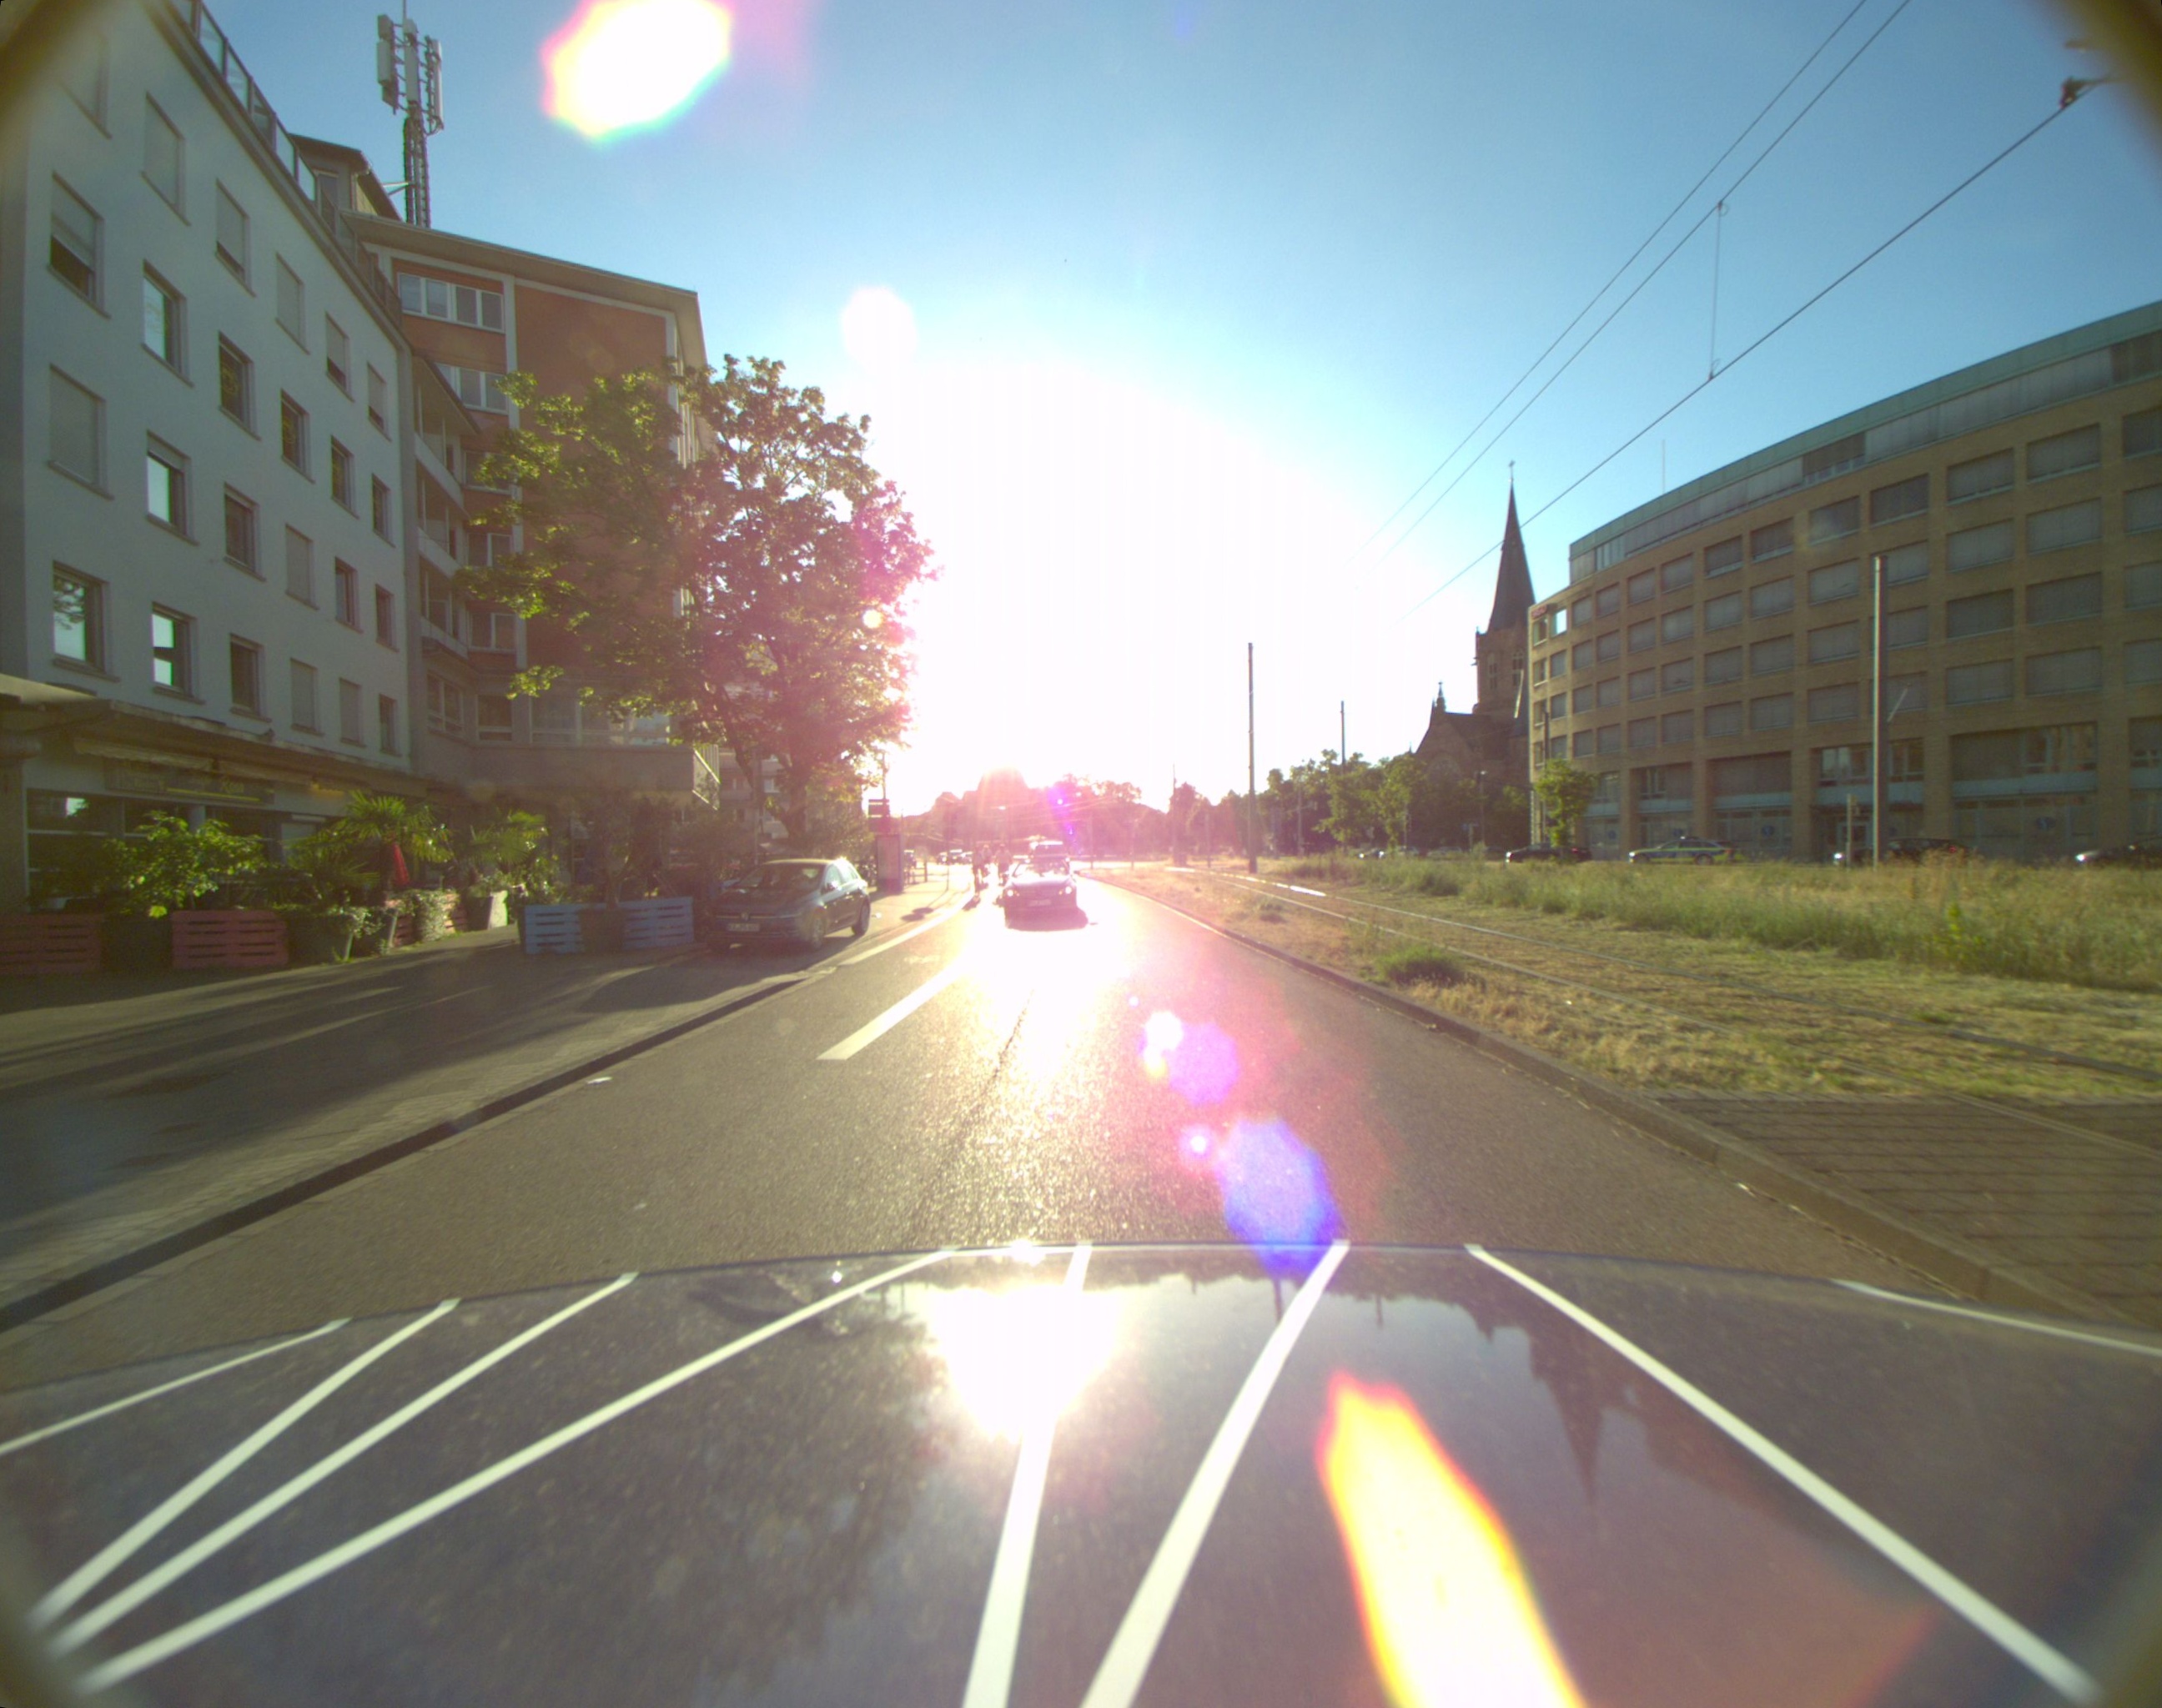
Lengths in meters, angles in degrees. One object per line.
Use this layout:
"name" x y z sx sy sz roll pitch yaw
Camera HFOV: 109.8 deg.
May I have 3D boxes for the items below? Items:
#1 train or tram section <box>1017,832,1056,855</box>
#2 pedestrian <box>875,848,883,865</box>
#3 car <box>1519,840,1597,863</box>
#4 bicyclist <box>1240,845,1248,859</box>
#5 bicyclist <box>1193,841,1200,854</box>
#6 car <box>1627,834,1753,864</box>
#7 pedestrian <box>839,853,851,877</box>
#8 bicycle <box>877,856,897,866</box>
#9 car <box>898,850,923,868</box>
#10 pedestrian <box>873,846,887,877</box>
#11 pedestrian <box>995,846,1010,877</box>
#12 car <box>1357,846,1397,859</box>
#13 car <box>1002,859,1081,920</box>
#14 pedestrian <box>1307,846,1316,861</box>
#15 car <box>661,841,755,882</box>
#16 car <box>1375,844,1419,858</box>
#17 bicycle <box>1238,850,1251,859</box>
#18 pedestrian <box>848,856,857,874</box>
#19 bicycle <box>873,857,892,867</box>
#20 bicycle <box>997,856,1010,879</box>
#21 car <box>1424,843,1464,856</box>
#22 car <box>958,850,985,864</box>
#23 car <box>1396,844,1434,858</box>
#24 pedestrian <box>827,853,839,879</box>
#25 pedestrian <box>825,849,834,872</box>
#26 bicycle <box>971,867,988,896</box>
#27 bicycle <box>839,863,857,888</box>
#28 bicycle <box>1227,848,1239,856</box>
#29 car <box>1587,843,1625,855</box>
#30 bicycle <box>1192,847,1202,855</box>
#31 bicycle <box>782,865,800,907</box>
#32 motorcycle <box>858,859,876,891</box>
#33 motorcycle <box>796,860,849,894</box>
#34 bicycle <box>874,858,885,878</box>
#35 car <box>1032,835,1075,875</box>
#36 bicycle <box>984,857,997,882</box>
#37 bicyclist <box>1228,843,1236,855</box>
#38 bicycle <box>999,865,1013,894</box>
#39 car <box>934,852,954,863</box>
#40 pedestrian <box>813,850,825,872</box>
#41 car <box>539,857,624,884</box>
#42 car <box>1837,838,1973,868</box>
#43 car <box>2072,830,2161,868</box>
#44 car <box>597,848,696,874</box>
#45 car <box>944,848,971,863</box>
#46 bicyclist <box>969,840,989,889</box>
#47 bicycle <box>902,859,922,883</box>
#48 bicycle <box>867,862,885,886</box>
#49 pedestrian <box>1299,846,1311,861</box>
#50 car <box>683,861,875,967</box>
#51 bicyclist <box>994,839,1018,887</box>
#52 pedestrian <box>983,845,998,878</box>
"train or tram section" -7.217 -1.630 120.281 2.785 3.515 10.550 -2 1 -22
"pedestrian" -19.475 0.234 73.317 0.664 1.694 1.070 -2 1 -17
"car" 29.078 -0.152 46.444 1.732 1.275 3.782 -2 1 -22
"bicyclist" 19.814 -0.232 92.203 0.522 1.574 0.819 -3 1 -22
"bicyclist" 16.561 -0.964 108.922 0.575 1.817 0.893 -3 1 -22
"car" 31.595 -0.245 39.589 1.897 1.472 4.772 -1 0 -25
"pedestrian" -15.262 0.720 49.171 0.684 1.491 0.745 -2 1 -20
"bicycle" -20.183 0.719 79.085 1.876 1.055 0.606 -1 1 -24
"car" -18.430 0.516 82.077 1.945 1.922 4.823 -2 1 -20
"pedestrian" -10.730 0.384 40.543 0.678 1.581 0.760 -2 3 -15
"pedestrian" -4.242 0.387 41.109 0.679 1.639 0.901 -3 1 -10
"car" 33.864 -0.174 86.888 4.004 1.412 1.899 -1 1 -22
"car" -0.957 0.824 19.540 1.776 1.300 4.239 -1 1 -1
"pedestrian" 25.904 -0.040 85.393 0.739 1.663 0.716 -2 1 -19
"car" -24.253 0.452 49.643 5.272 2.468 1.922 -2 1 -22
"car" 33.339 -0.291 80.182 4.003 1.412 1.899 -1 1 -18
"bicycle" 19.839 0.069 92.198 0.460 1.140 1.916 -3 1 -23
"pedestrian" -19.745 0.959 65.555 0.684 1.580 0.745 -2 1 -17
"bicycle" -20.960 0.856 80.222 1.876 1.055 0.606 -1 1 -24
"bicycle" -4.209 0.713 41.144 0.530 1.152 1.847 -3 2 -10
"car" 41.095 -0.479 85.952 4.004 1.412 1.899 -1 1 -22
"car" -12.657 0.336 87.777 1.845 1.393 4.574 -4 2 -24
"car" 38.925 -0.359 88.602 4.004 1.576 1.822 -1 0 -22
"pedestrian" -16.176 0.754 49.527 0.684 1.652 0.745 -2 1 -20
"pedestrian" -18.779 0.485 56.712 0.571 1.691 0.811 -2 1 -20
"bicycle" -3.790 1.016 28.450 0.577 1.022 1.855 -2 0 -7
"bicycle" -11.060 1.003 36.022 0.647 1.151 2.121 -2 0 -20
"bicycle" 20.017 -0.222 100.026 0.460 1.020 1.927 -3 1 -21
"car" 65.233 -0.632 94.407 4.004 1.412 1.899 -1 1 -22
"bicycle" 16.594 -0.451 108.873 0.526 1.020 1.927 -4 2 -22
"bicycle" -8.269 0.884 21.712 0.422 1.151 1.752 -2 0 -20
"motorcycle" -8.827 0.856 31.385 0.668 1.235 2.198 -2 1 -15
"motorcycle" -11.256 0.982 33.145 2.051 1.398 0.759 -2 1 -14
"bicycle" -10.737 0.712 40.530 0.522 0.975 1.847 -1 2 -15
"car" -1.551 0.044 41.163 1.921 1.978 4.943 -2 1 -6
"bicycle" -4.608 0.763 38.686 0.530 1.152 1.847 -3 2 -10
"bicyclist" 19.927 -0.656 100.099 0.575 1.671 0.893 -3 1 -22
"bicycle" -2.871 0.966 29.066 0.480 1.022 1.980 -2 0 -7
"car" -18.215 0.478 100.729 1.818 1.393 3.912 -4 2 -22
"pedestrian" -20.736 0.539 60.093 0.786 1.691 1.025 -2 1 -20
"car" -30.730 0.992 46.846 4.089 1.562 1.594 -1 1 -23
"car" 34.692 -0.046 32.112 1.527 1.147 3.591 -2 1 -23
"car" 37.386 -0.191 26.139 1.653 1.274 3.732 -1 0 -25
"car" -25.004 0.379 43.921 4.680 1.333 1.837 -2 1 -20
"car" -15.430 0.232 94.664 1.959 1.703 4.841 -4 2 -24
"bicyclist" -3.813 0.370 28.492 0.676 1.797 0.993 -2 1 -7
"bicycle" -8.237 0.832 36.997 0.647 1.120 1.871 -2 0 -20
"bicycle" -9.833 0.945 36.488 0.647 1.120 1.871 -2 0 -20
"pedestrian" 25.087 -0.004 85.244 0.739 1.663 1.103 -2 1 -19
"car" -5.023 0.914 13.245 1.732 1.463 3.898 1 1 1
"bicyclist" -2.883 0.323 29.078 0.829 1.797 1.056 -2 1 -7
"pedestrian" -4.604 0.371 38.662 0.640 1.639 0.842 -3 1 -10
